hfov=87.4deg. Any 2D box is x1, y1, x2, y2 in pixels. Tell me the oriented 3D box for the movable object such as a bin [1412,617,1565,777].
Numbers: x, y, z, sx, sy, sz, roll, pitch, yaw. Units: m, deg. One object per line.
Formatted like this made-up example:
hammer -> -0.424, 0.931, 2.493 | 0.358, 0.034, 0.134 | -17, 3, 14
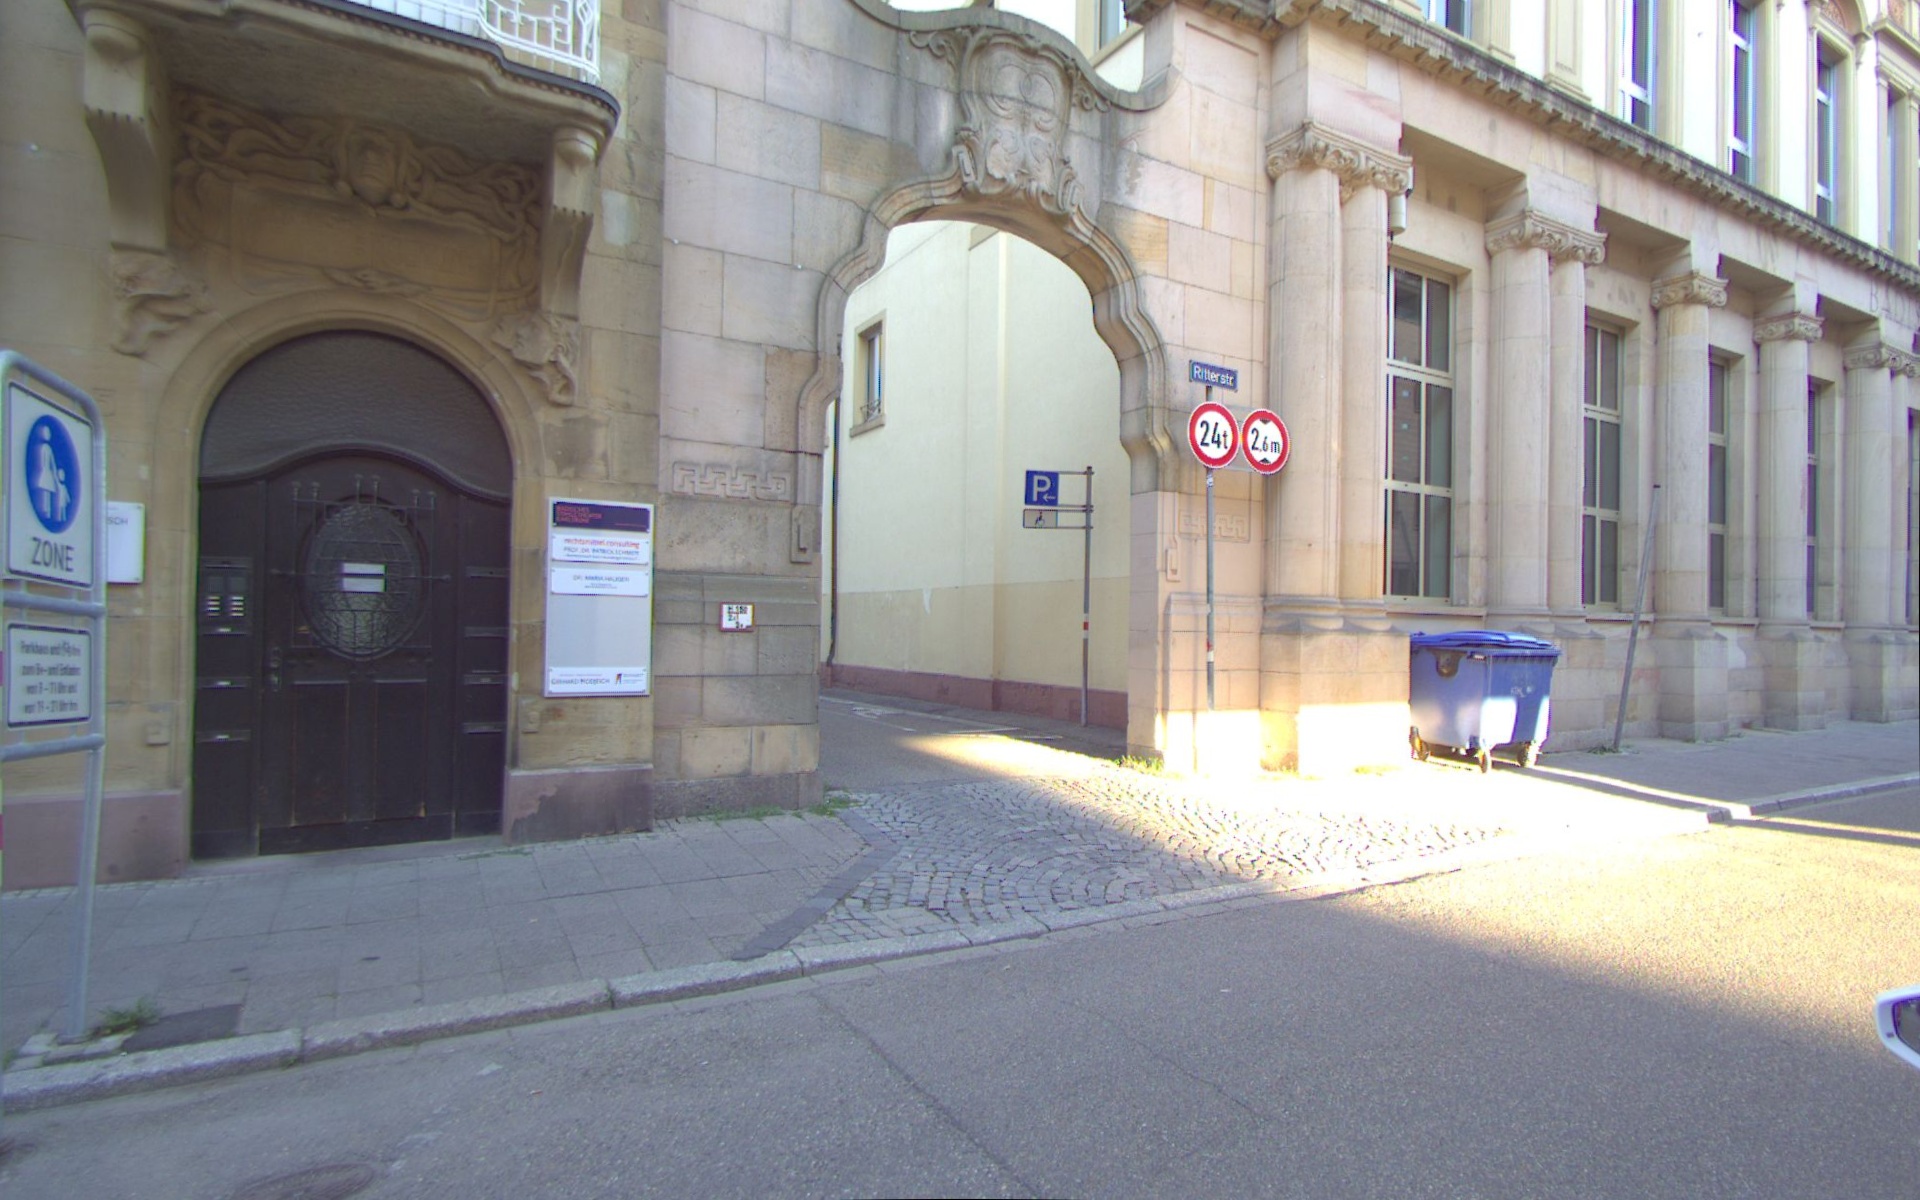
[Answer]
movable object such as a bin -> 5.429, 0.948, 10.318 | 1.275, 1.523, 0.825 | 1, -1, -29
